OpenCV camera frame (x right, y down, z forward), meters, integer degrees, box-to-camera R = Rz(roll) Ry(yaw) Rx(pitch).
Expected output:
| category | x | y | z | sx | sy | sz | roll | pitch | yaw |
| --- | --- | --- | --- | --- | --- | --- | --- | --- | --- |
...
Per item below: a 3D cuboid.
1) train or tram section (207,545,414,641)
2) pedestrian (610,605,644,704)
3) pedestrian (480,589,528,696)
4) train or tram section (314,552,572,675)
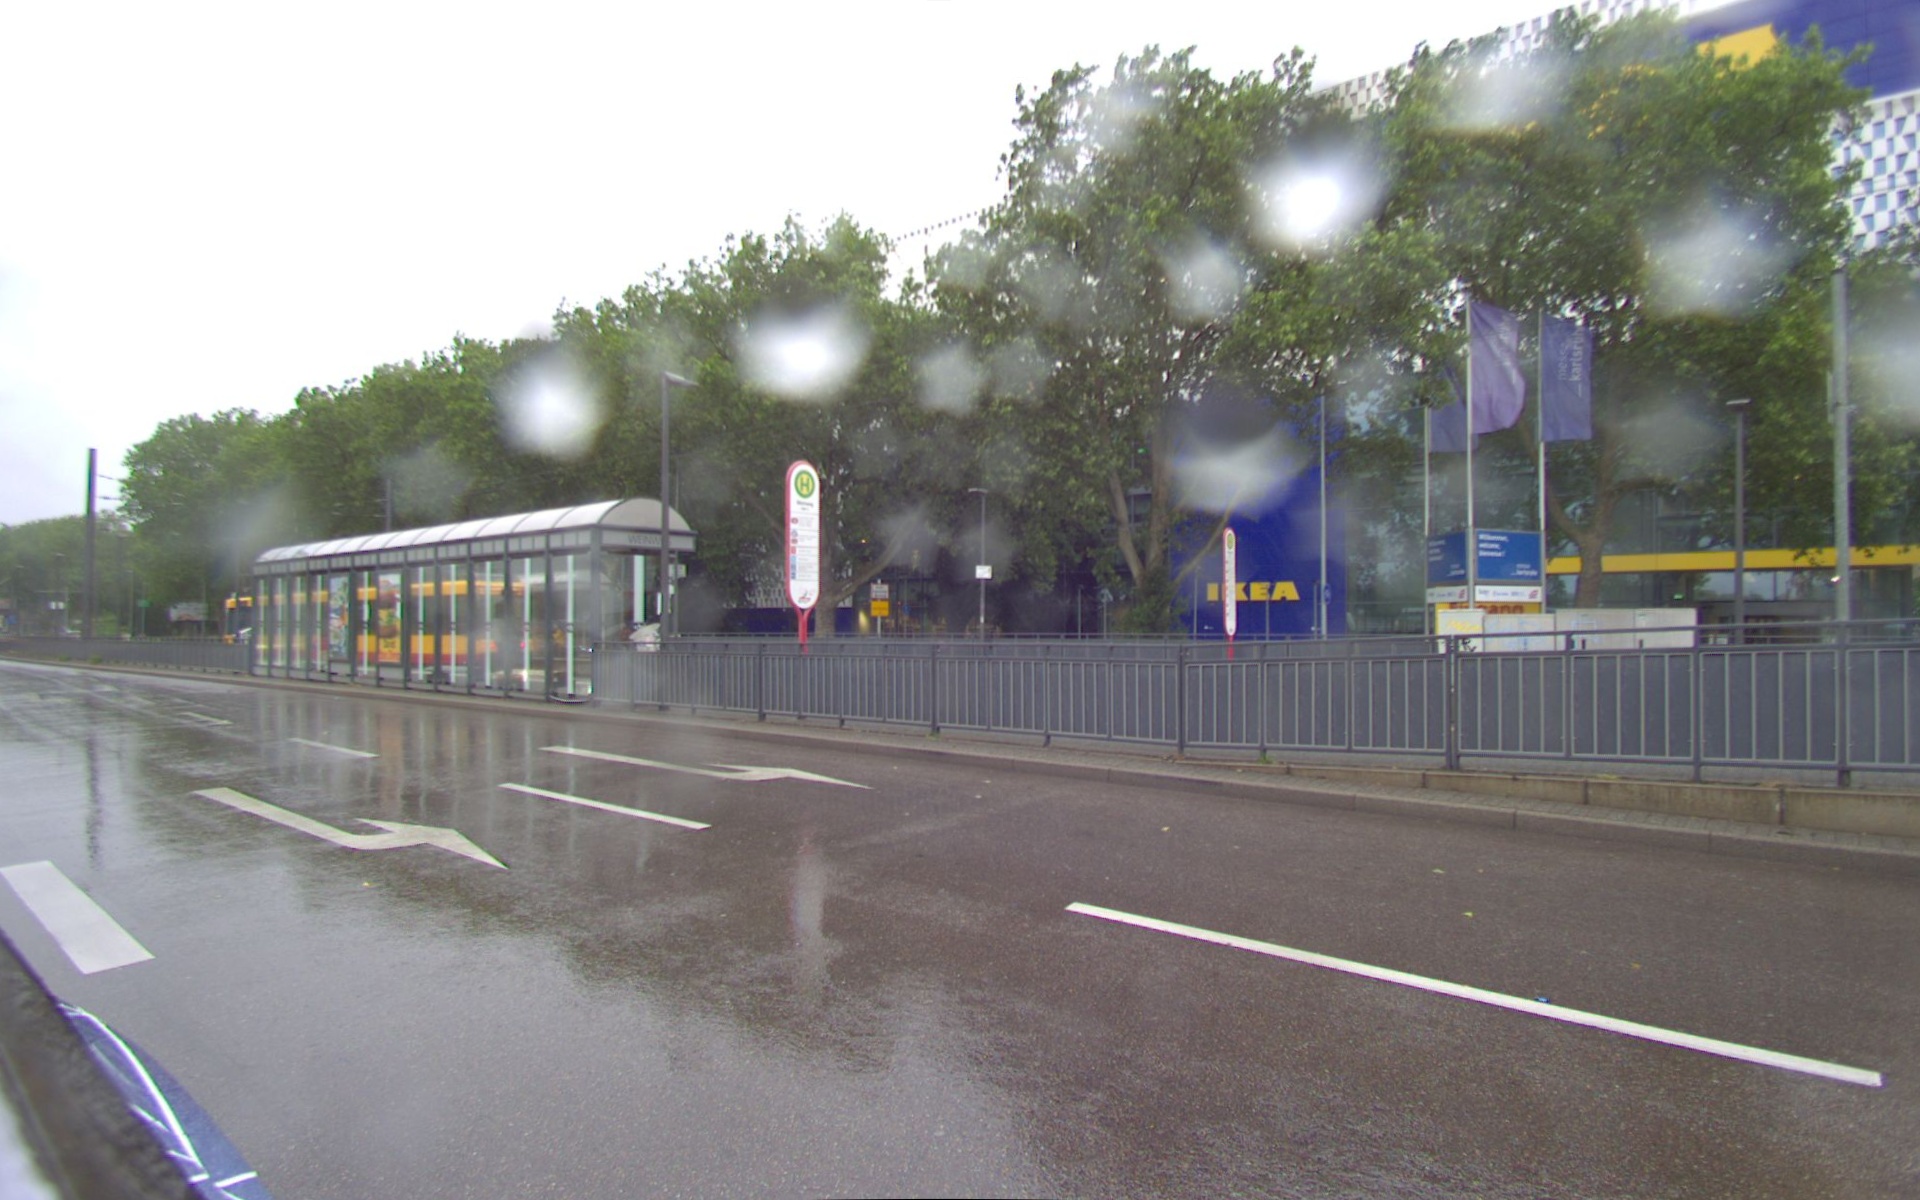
| category | x | y | z | sx | sy | sz | roll | pitch | yaw |
| --- | --- | --- | --- | --- | --- | --- | --- | --- | --- |
| train or tram section | -30.499 | -0.186 | 46.916 | 15.560 | 3.827 | 3.703 | -1 | 0 | 40 |
| pedestrian | -5.139 | 0.830 | 15.618 | 0.317 | 1.504 | 0.416 | -2 | 1 | -44 |
| pedestrian | -8.319 | 0.754 | 18.448 | 0.646 | 1.885 | 0.774 | -1 | 0 | -33 |
| train or tram section | -19.522 | 0.478 | 37.531 | 13.245 | 3.868 | 3.703 | -1 | 0 | 40 |
